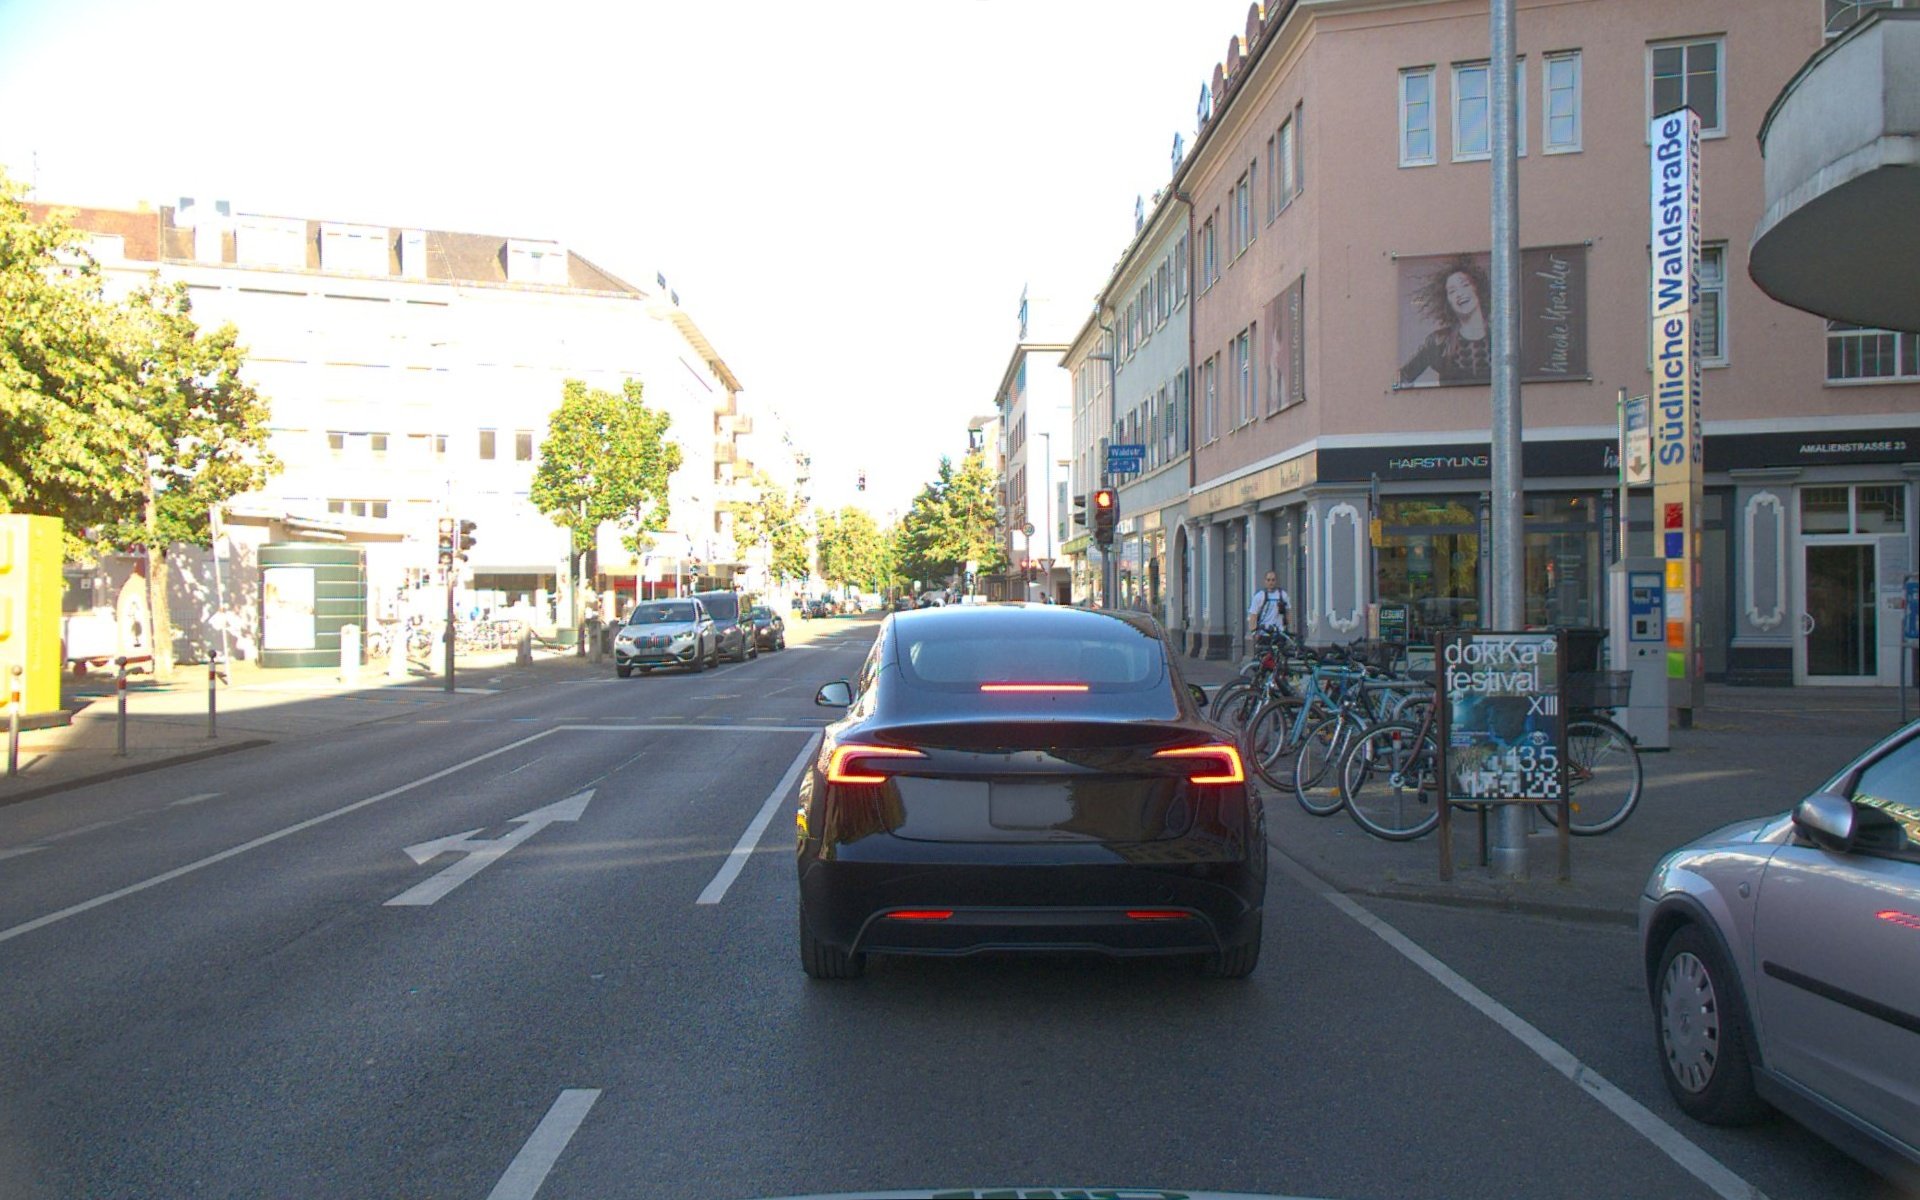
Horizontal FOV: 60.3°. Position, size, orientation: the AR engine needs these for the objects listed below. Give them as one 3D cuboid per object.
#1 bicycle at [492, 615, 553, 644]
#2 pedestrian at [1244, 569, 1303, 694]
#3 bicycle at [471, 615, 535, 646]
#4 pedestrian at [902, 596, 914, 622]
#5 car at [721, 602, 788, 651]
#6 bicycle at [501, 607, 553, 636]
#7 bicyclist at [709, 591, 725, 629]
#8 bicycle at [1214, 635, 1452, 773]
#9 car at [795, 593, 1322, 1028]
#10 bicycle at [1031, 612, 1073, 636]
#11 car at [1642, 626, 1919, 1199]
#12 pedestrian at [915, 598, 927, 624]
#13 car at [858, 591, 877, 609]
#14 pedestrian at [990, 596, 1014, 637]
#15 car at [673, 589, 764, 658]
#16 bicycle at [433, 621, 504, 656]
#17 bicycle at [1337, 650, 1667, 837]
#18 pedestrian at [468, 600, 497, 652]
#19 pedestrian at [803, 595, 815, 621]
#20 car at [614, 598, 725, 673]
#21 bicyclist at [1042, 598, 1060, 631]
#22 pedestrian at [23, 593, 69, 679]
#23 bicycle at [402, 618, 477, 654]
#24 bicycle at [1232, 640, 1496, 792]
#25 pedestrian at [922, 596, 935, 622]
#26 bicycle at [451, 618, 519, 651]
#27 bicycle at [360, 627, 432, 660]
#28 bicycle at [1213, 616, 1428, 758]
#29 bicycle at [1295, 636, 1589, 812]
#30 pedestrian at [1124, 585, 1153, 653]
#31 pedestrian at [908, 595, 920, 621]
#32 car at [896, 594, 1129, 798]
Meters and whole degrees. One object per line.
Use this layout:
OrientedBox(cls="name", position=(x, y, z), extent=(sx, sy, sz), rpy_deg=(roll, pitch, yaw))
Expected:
OrientedBox(cls="bicycle", position=(-14.364, 0.975, 54.313), extent=(1.826, 0.950, 0.606), rpy_deg=(0, 0, -2))
OrientedBox(cls="pedestrian", position=(4.636, 0.458, 24.476), extent=(0.735, 1.796, 0.837), rpy_deg=(1, -1, 3))
OrientedBox(cls="bicycle", position=(-14.329, 0.966, 51.865), extent=(1.826, 0.950, 0.606), rpy_deg=(0, 0, -2))
OrientedBox(cls="pedestrian", position=(-2.951, 0.511, 94.149), extent=(0.467, 1.442, 0.516), rpy_deg=(1, -1, -32))
OrientedBox(cls="car", position=(-6.451, 0.824, 52.234), extent=(1.680, 1.471, 3.844), rpy_deg=(1, 0, -1))
OrientedBox(cls="bicycle", position=(-20.303, 1.024, 77.570), extent=(2.334, 1.318, 0.509), rpy_deg=(1, -1, -27))
OrientedBox(cls="bicyclist", position=(-9.864, 0.408, 67.235), extent=(0.516, 1.530, 0.472), rpy_deg=(1, -1, -25))
OrientedBox(cls="bicycle", position=(3.055, 0.850, 13.666), extent=(1.833, 1.056, 0.548), rpy_deg=(-2, -1, 5))
OrientedBox(cls="car", position=(0.311, 0.723, 7.607), extent=(1.785, 1.467, 3.999), rpy_deg=(0, 0, -1))
OrientedBox(cls="bicycle", position=(3.955, 1.024, 71.325), extent=(1.756, 1.024, 0.469), rpy_deg=(1, -1, -17))
OrientedBox(cls="car", position=(2.914, 0.784, 3.497), extent=(1.515, 1.415, 3.476), rpy_deg=(0, 0, 0))
OrientedBox(cls="pedestrian", position=(-2.235, 0.620, 94.444), extent=(0.516, 1.447, 0.474), rpy_deg=(1, -1, -31))
OrientedBox(cls="car", position=(-10.437, -0.013, 186.979), extent=(1.953, 2.049, 3.999), rpy_deg=(0, 0, -1))
OrientedBox(cls="pedestrian", position=(1.743, 0.682, 68.852), extent=(0.742, 1.660, 0.951), rpy_deg=(1, -1, -18))
OrientedBox(cls="car", position=(-6.106, 0.562, 42.271), extent=(1.751, 1.675, 4.401), rpy_deg=(0, 0, -1))
OrientedBox(cls="bicycle", position=(-13.997, 1.088, 47.115), extent=(1.826, 0.950, 0.606), rpy_deg=(1, 0, -2))
OrientedBox(cls="bicycle", position=(3.255, 0.866, 10.023), extent=(1.833, 1.056, 0.353), rpy_deg=(-2, -1, 6))
OrientedBox(cls="pedestrian", position=(-19.275, 1.042, 66.735), extent=(1.041, 2.049, 1.049), rpy_deg=(1, -1, -20))
OrientedBox(cls="pedestrian", position=(-10.351, 0.538, 113.462), extent=(0.831, 1.725, 0.717), rpy_deg=(0, 0, -4))
OrientedBox(cls="car", position=(-6.271, 0.741, 36.056), extent=(1.752, 1.485, 3.756), rpy_deg=(-2, 0, -1))
OrientedBox(cls="bicyclist", position=(3.914, 0.616, 71.326), extent=(0.659, 1.420, 0.460), rpy_deg=(1, -1, -17))
OrientedBox(cls="pedestrian", position=(-18.938, 0.740, 34.280), extent=(0.465, 1.746, 0.711), rpy_deg=(1, -1, 9))
OrientedBox(cls="bicycle", position=(-14.147, 0.976, 44.981), extent=(1.826, 0.950, 0.606), rpy_deg=(1, 0, -2))
OrientedBox(cls="bicycle", position=(3.022, 0.865, 12.478), extent=(1.834, 1.056, 0.533), rpy_deg=(-2, -1, 3))
OrientedBox(cls="pedestrian", position=(-1.780, 0.525, 93.831), extent=(0.516, 1.447, 0.474), rpy_deg=(1, -1, -31))
OrientedBox(cls="bicycle", position=(-14.234, 1.034, 49.586), extent=(1.826, 0.950, 0.606), rpy_deg=(1, 0, -2))
OrientedBox(cls="bicycle", position=(-14.452, 1.112, 42.397), extent=(1.612, 0.806, 0.606), rpy_deg=(1, 0, -5))
OrientedBox(cls="bicycle", position=(3.198, 0.768, 14.788), extent=(1.789, 1.189, 0.506), rpy_deg=(-2, -1, 5))
OrientedBox(cls="bicycle", position=(3.240, 0.829, 11.195), extent=(1.834, 1.106, 0.414), rpy_deg=(-2, -1, 3))
OrientedBox(cls="pedestrian", position=(4.680, 0.488, 43.448), extent=(0.692, 1.773, 0.540), rpy_deg=(0, 0, -1))
OrientedBox(cls="pedestrian", position=(-2.608, 0.472, 93.283), extent=(0.516, 1.447, 0.474), rpy_deg=(1, -1, -31))
OrientedBox(cls="car", position=(0.309, 0.687, 13.822), extent=(1.683, 1.450, 3.755), rpy_deg=(0, 0, -2))
